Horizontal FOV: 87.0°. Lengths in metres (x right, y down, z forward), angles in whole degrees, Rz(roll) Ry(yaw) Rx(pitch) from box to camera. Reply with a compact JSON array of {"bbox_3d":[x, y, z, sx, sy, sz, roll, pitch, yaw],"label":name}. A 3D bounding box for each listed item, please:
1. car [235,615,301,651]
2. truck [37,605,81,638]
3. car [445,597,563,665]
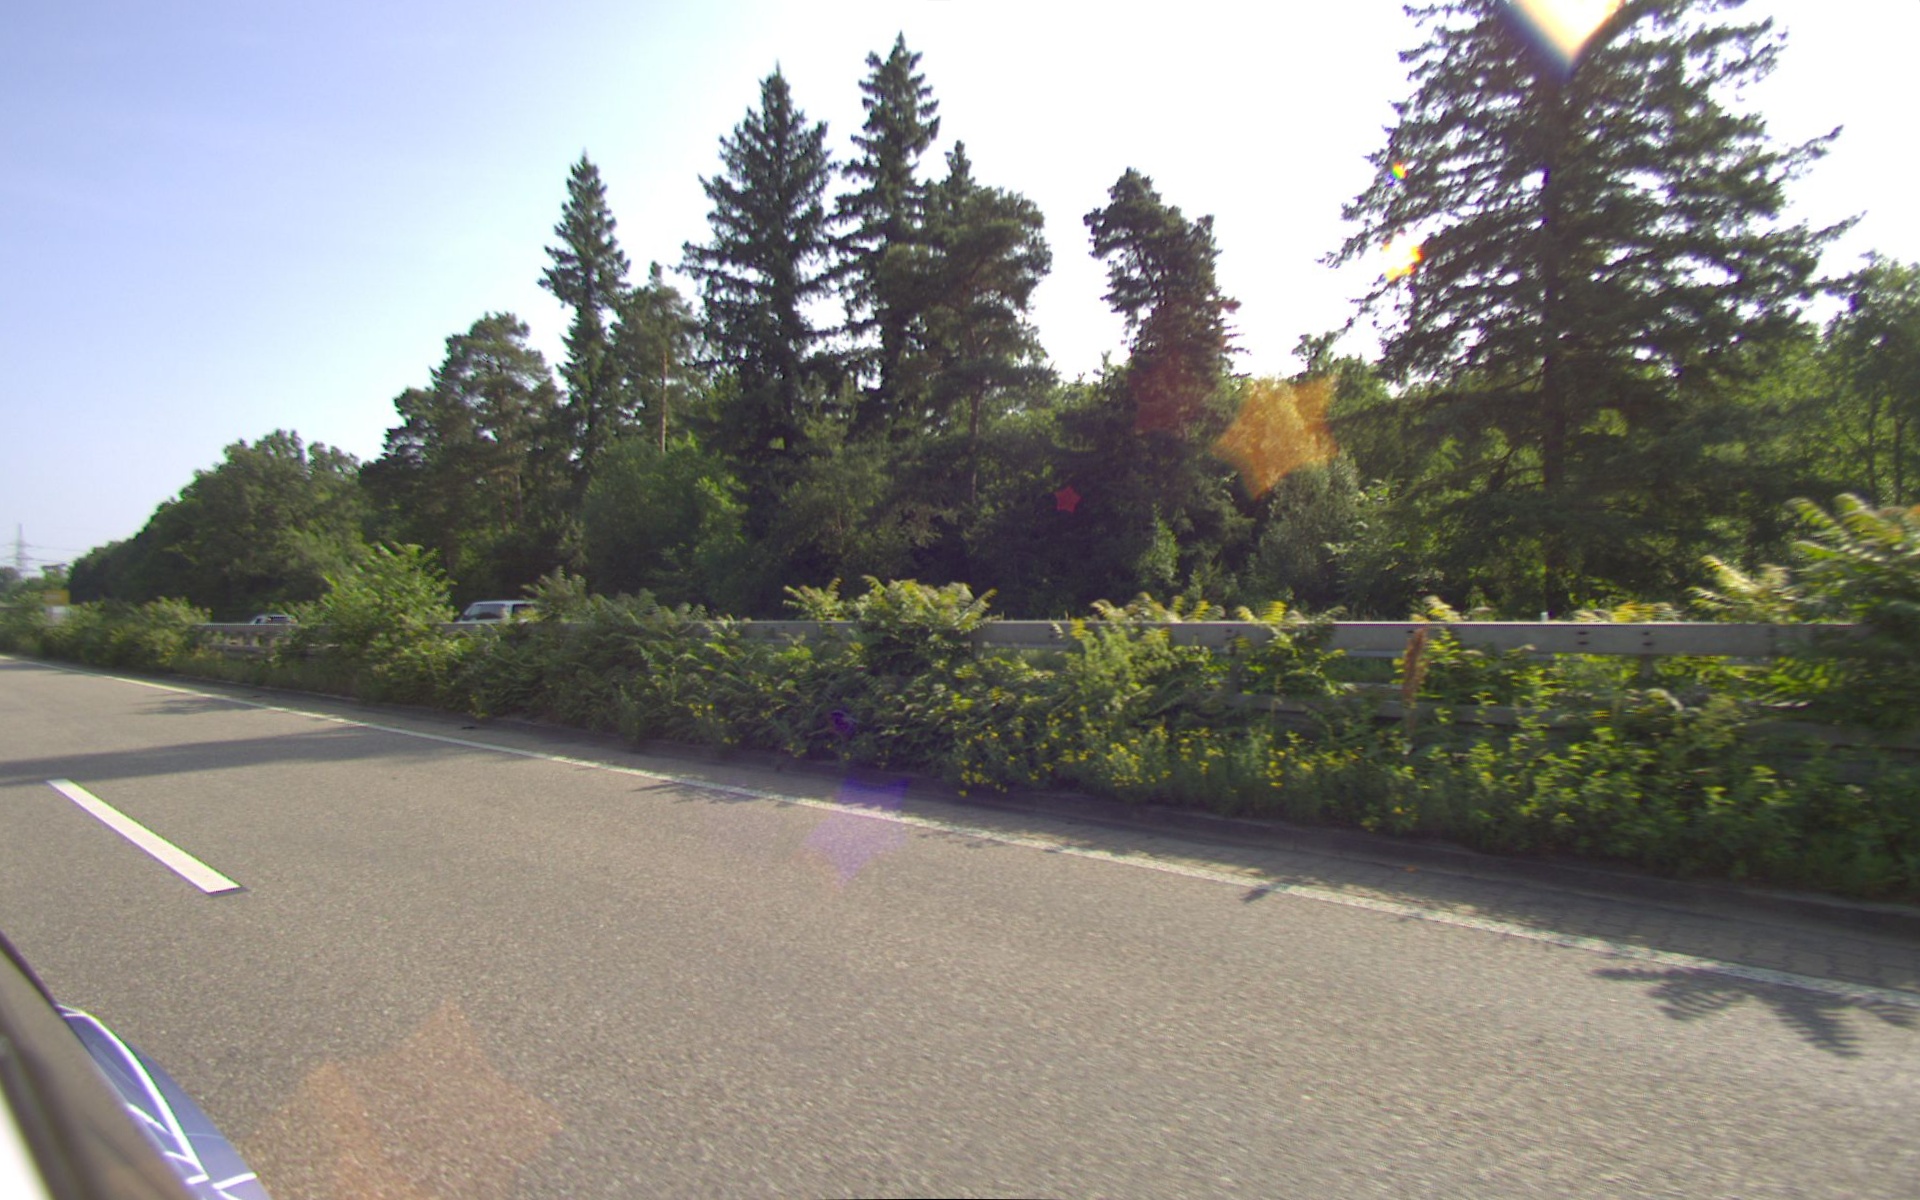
[{"bbox_3d":[-34.856,1.633,50.934,4.299,1.695,1.796,-1,0,42],"label":"car"},{"bbox_3d":[-90.700,2.204,101.822,7.224,3.201,2.436,-1,-2,41],"label":"truck"},{"bbox_3d":[-14.751,0.962,32.599,4.492,2.029,1.796,-1,0,42],"label":"car"}]
